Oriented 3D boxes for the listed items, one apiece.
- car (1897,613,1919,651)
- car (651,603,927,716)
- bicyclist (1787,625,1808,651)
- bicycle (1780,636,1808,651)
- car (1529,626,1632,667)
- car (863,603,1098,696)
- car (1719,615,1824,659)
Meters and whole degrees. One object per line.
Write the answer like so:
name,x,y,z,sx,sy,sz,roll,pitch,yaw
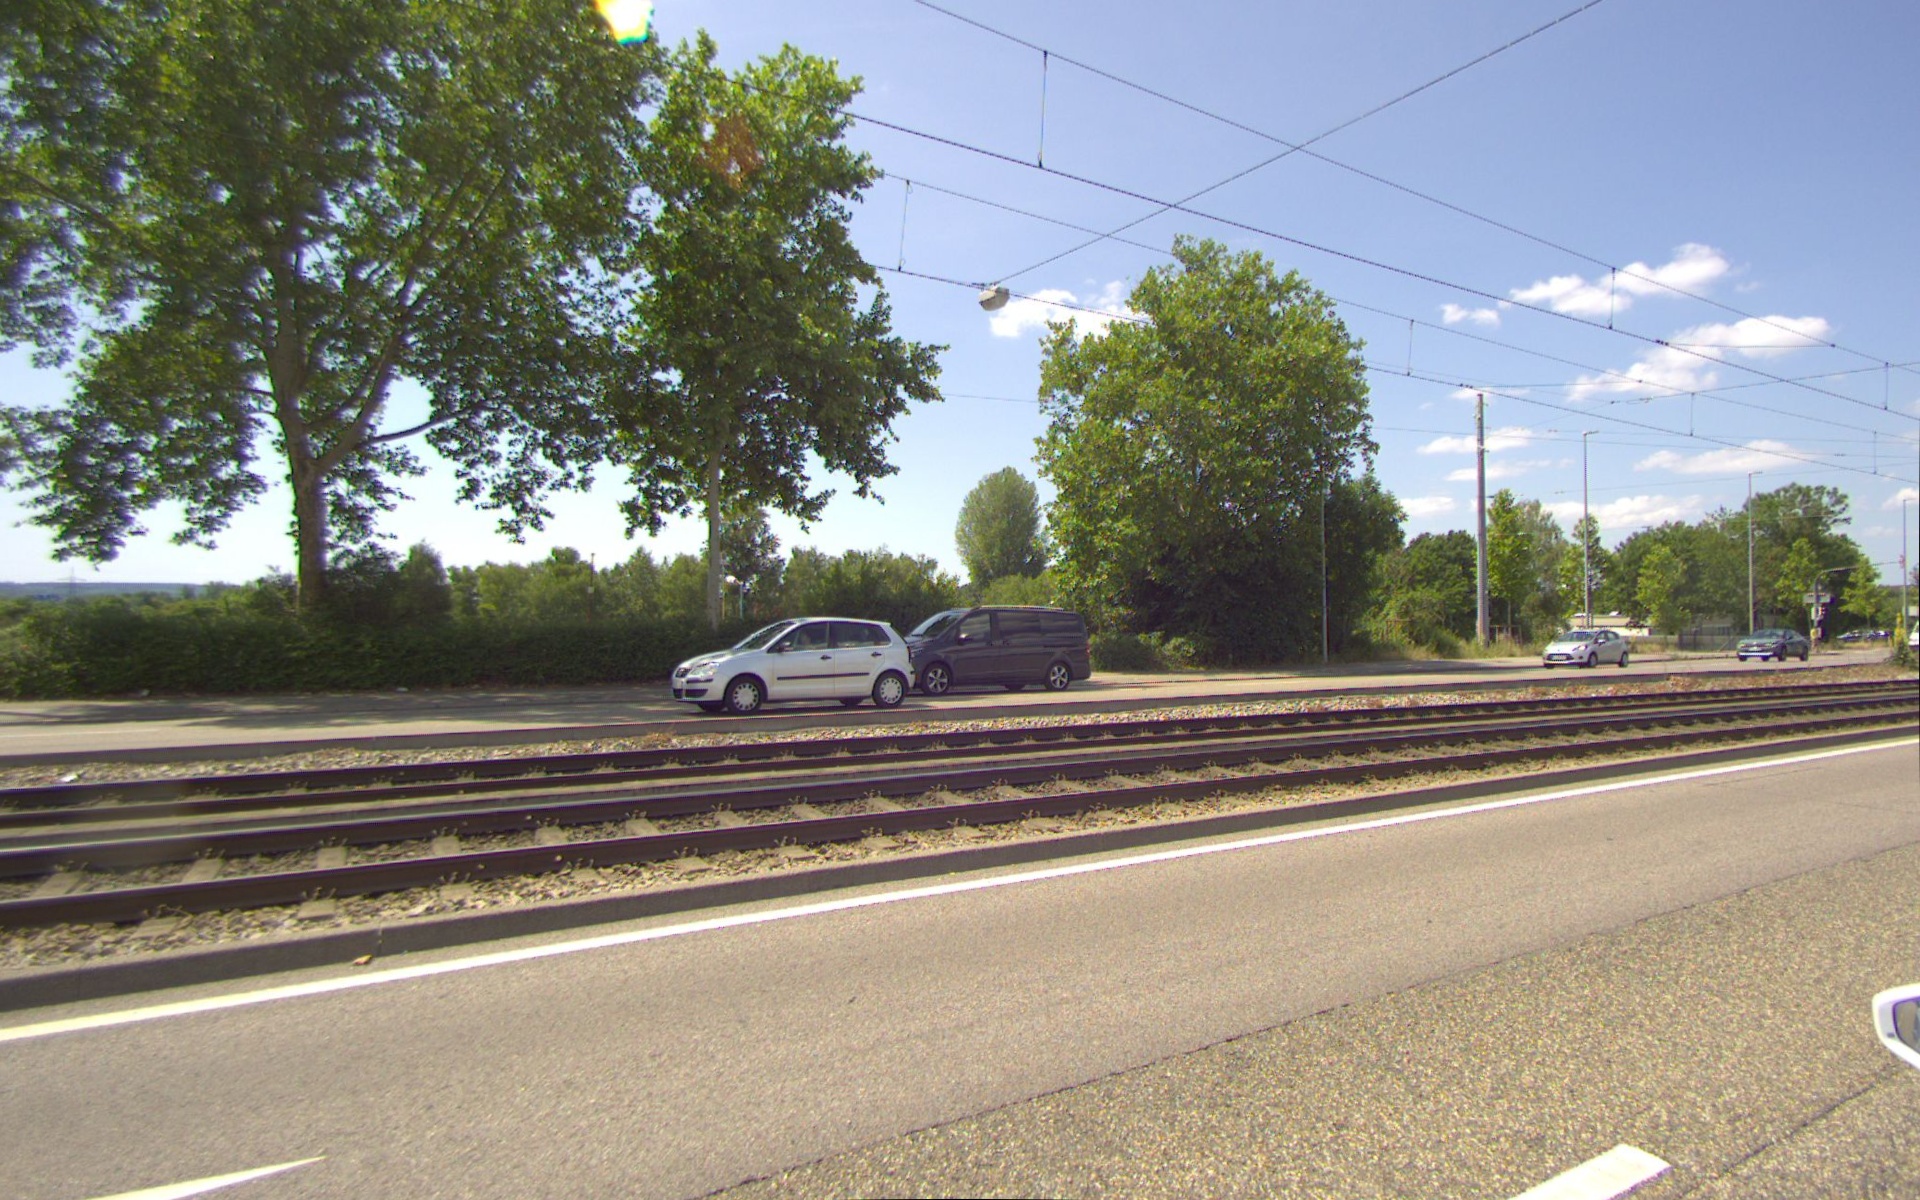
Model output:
car,69.891,2.243,72.079,6.164,2.623,2.232,0,-3,-32
car,-2.686,0.908,16.005,4.013,1.604,1.677,1,-3,-32
bicyclist,60.086,2.740,72.076,0.337,1.798,1.112,1,0,-34
bicycle,60.001,3.138,72.243,0.480,1.000,1.482,1,0,-33
car,23.291,1.735,37.688,3.842,1.434,1.812,1,-3,-33
car,0.496,1.067,22.200,4.913,1.854,1.983,1,-3,-32
car,39.118,1.762,48.423,4.345,1.944,1.990,1,1,-21
